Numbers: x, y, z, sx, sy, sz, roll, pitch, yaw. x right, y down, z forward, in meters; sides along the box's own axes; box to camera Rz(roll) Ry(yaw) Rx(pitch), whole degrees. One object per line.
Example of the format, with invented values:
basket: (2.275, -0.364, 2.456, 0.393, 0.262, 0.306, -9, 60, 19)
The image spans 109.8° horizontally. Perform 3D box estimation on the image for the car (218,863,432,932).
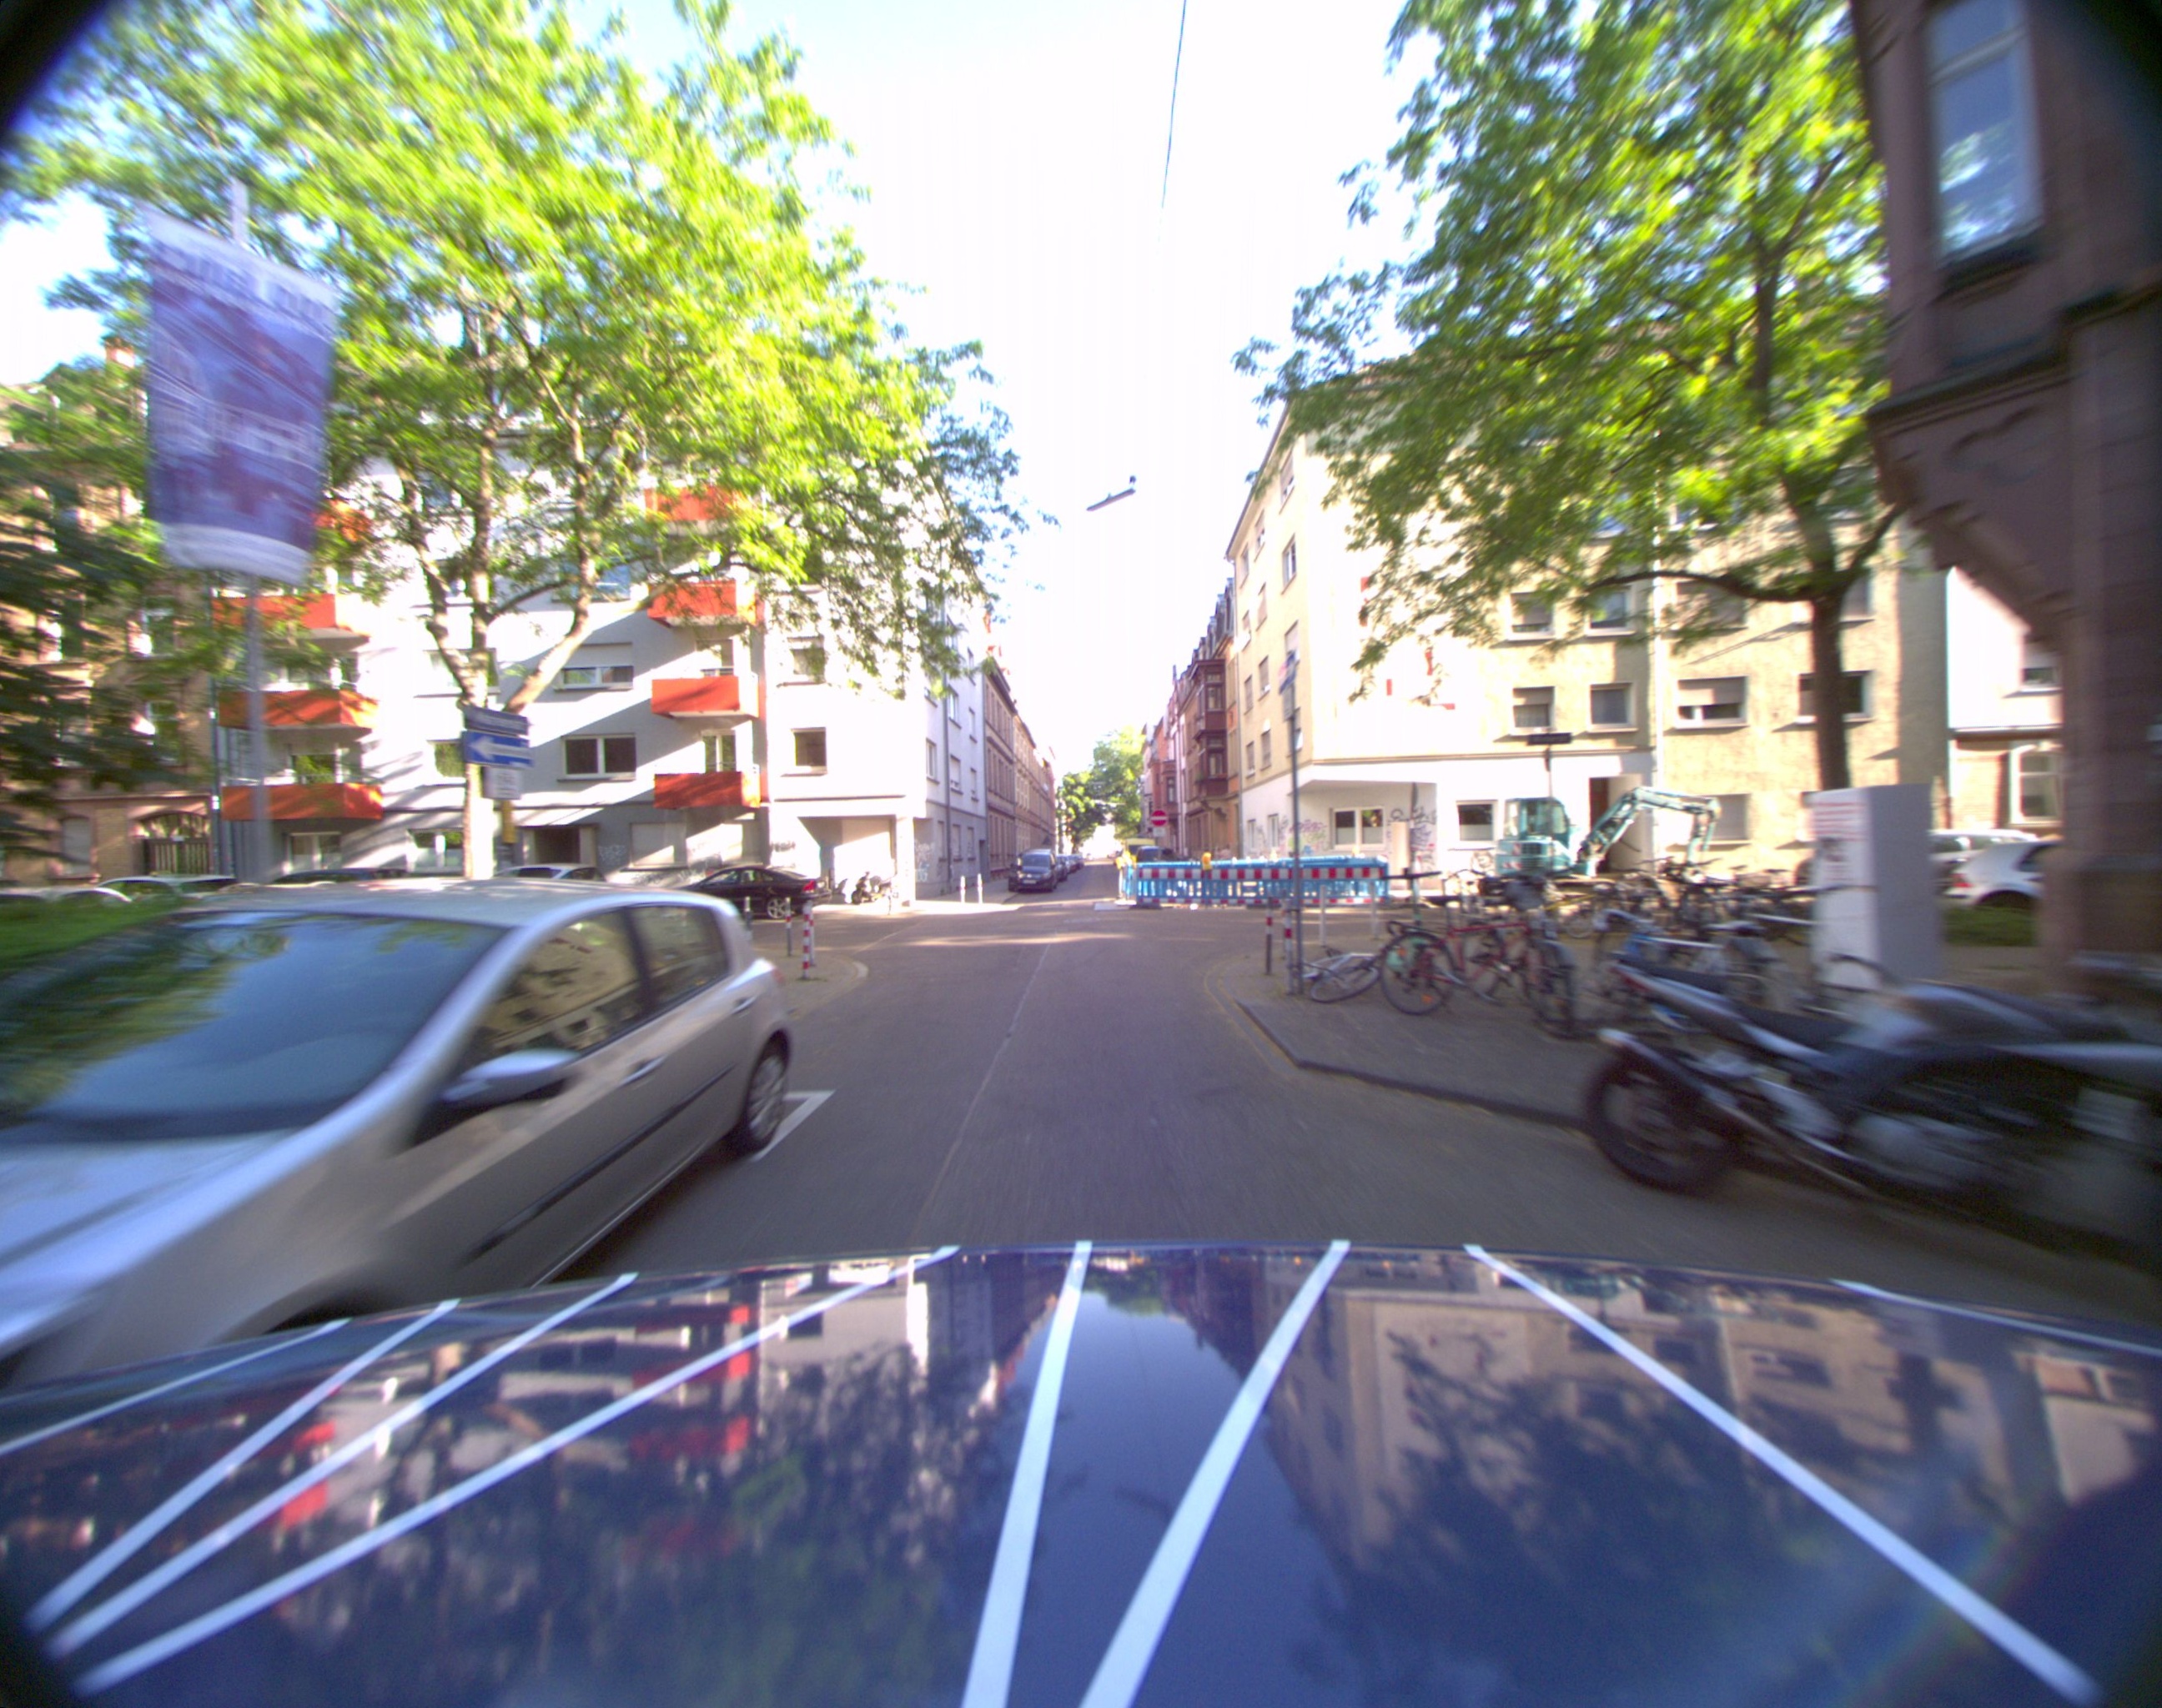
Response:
car: (-20.402, 1.154, 20.632, 4.036, 1.608, 1.649, -1, 3, 1)

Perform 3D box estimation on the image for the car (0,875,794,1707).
car: (-2.503, 0.911, 2.400, 1.713, 1.511, 3.830, 0, 1, 0)

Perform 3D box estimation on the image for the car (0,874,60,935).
car: (-31.386, 1.457, 20.980, 4.000, 1.571, 1.649, -1, 3, 1)

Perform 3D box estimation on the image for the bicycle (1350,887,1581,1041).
bicycle: (3.003, 0.811, 6.103, 0.234, 1.037, 1.679, -5, 3, -39)

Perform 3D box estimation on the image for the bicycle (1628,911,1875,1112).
bicycle: (4.021, 0.880, 4.684, 0.234, 0.901, 1.420, -3, 2, -1)

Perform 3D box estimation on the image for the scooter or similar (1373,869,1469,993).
scooter or similar: (3.457, 0.753, 7.804, 0.446, 1.167, 1.165, -2, -2, 2)

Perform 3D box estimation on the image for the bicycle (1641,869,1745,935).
bicycle: (9.234, 0.693, 11.534, 0.491, 0.920, 1.759, -2, -1, 14)

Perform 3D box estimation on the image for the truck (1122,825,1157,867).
truck: (3.792, -0.530, 50.239, 1.971, 2.643, 5.884, 0, 1, 2)

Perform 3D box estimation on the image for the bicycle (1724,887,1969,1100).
bicycle: (4.556, 0.763, 4.626, 0.233, 1.037, 1.296, -2, 1, 3)

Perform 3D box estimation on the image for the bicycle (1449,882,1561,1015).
bicycle: (3.675, 0.780, 6.668, 0.234, 1.036, 1.198, -2, -1, -2)

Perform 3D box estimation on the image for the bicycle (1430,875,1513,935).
bicycle: (6.455, 0.813, 12.644, 0.492, 0.920, 1.758, -2, -1, 2)

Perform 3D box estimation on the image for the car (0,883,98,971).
car: (-20.236, 1.365, 13.635, 1.785, 1.423, 4.404, -3, 2, -34)

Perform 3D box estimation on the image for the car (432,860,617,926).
car: (-14.999, 1.027, 20.611, 3.695, 1.550, 1.649, -1, 3, 1)

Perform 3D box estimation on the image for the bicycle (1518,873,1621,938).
bicycle: (7.615, 0.776, 11.945, 0.492, 0.920, 1.758, -2, -1, 2)

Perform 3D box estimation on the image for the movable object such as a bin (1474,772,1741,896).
movable object such as a bin: (12.922, -0.490, 18.965, 5.149, 2.733, 2.000, -2, 3, 5)

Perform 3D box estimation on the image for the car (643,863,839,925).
car: (-9.030, 1.036, 20.431, 4.412, 1.423, 1.782, -2, 1, 1)

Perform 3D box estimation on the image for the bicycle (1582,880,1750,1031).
bicycle: (4.570, 0.734, 6.042, 0.233, 1.036, 1.452, -2, -1, 3)

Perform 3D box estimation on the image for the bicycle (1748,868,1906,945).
bicycle: (9.313, 0.656, 9.518, 1.423, 0.920, 0.312, -2, -1, 13)

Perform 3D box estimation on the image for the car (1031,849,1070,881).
car: (-1.719, 0.590, 42.481, 1.999, 1.659, 3.998, -2, 1, -3)

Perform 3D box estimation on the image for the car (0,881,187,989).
car: (-17.583, 1.308, 12.966, 1.785, 1.423, 4.404, -3, 2, -34)

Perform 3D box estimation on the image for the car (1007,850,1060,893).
car: (-1.912, 0.676, 31.838, 1.845, 1.643, 4.000, 0, 1, 2)

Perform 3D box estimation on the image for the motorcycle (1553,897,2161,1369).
motorcycle: (3.098, 0.851, 2.689, 0.703, 1.244, 2.320, -2, 2, -44)

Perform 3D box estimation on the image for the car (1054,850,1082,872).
car: (-1.060, 0.567, 63.273, 1.998, 1.659, 4.000, -1, 1, 3)

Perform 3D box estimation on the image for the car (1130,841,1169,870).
car: (4.013, 0.089, 44.808, 1.998, 1.583, 4.000, -1, 0, 1)

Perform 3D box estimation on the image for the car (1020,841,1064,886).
car: (-1.917, 0.418, 37.466, 1.999, 2.052, 3.998, -2, 1, -3)

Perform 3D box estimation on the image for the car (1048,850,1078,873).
car: (-1.340, 0.538, 58.655, 1.998, 1.659, 4.000, -1, 1, 3)

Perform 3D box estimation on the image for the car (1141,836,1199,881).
car: (3.627, 0.156, 31.558, 1.776, 1.695, 3.999, -2, 0, -2)

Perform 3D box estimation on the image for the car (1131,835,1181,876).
car: (3.535, 0.055, 36.510, 1.804, 1.841, 3.999, -2, 0, -2)

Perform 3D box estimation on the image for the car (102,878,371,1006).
car: (-13.178, 1.220, 12.232, 1.785, 1.423, 4.404, -3, 2, -34)

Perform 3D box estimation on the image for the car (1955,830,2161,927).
car: (14.808, 0.303, 10.206, 1.595, 1.216, 3.735, -3, 2, -25)

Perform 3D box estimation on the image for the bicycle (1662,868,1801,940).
bicycle: (8.838, 0.684, 10.361, 1.423, 0.920, 0.312, -2, -1, 13)

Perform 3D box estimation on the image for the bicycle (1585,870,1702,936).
bicycle: (8.564, 0.717, 11.664, 0.492, 0.920, 1.758, -2, -1, 2)

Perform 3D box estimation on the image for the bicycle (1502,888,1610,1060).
bicycle: (3.356, 0.793, 5.439, 0.233, 1.036, 1.199, -2, 0, 12)

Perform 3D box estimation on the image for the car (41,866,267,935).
car: (-25.025, 1.227, 20.614, 4.000, 1.571, 1.649, -1, 3, 1)

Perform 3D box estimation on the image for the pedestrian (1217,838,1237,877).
pedestrian: (6.094, 0.151, 31.689, 0.670, 1.585, 0.597, -2, 1, -2)

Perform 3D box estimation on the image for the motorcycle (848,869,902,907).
motorcycle: (-6.511, 1.054, 24.087, 1.472, 1.111, 0.908, -2, 1, -6)

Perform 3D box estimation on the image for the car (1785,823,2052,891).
car: (19.495, 0.040, 17.877, 3.995, 1.433, 1.815, -1, 2, 7)

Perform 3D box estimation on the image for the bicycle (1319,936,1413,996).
bicycle: (2.864, 1.119, 7.734, 0.451, 0.440, 1.198, -2, -1, -2)
